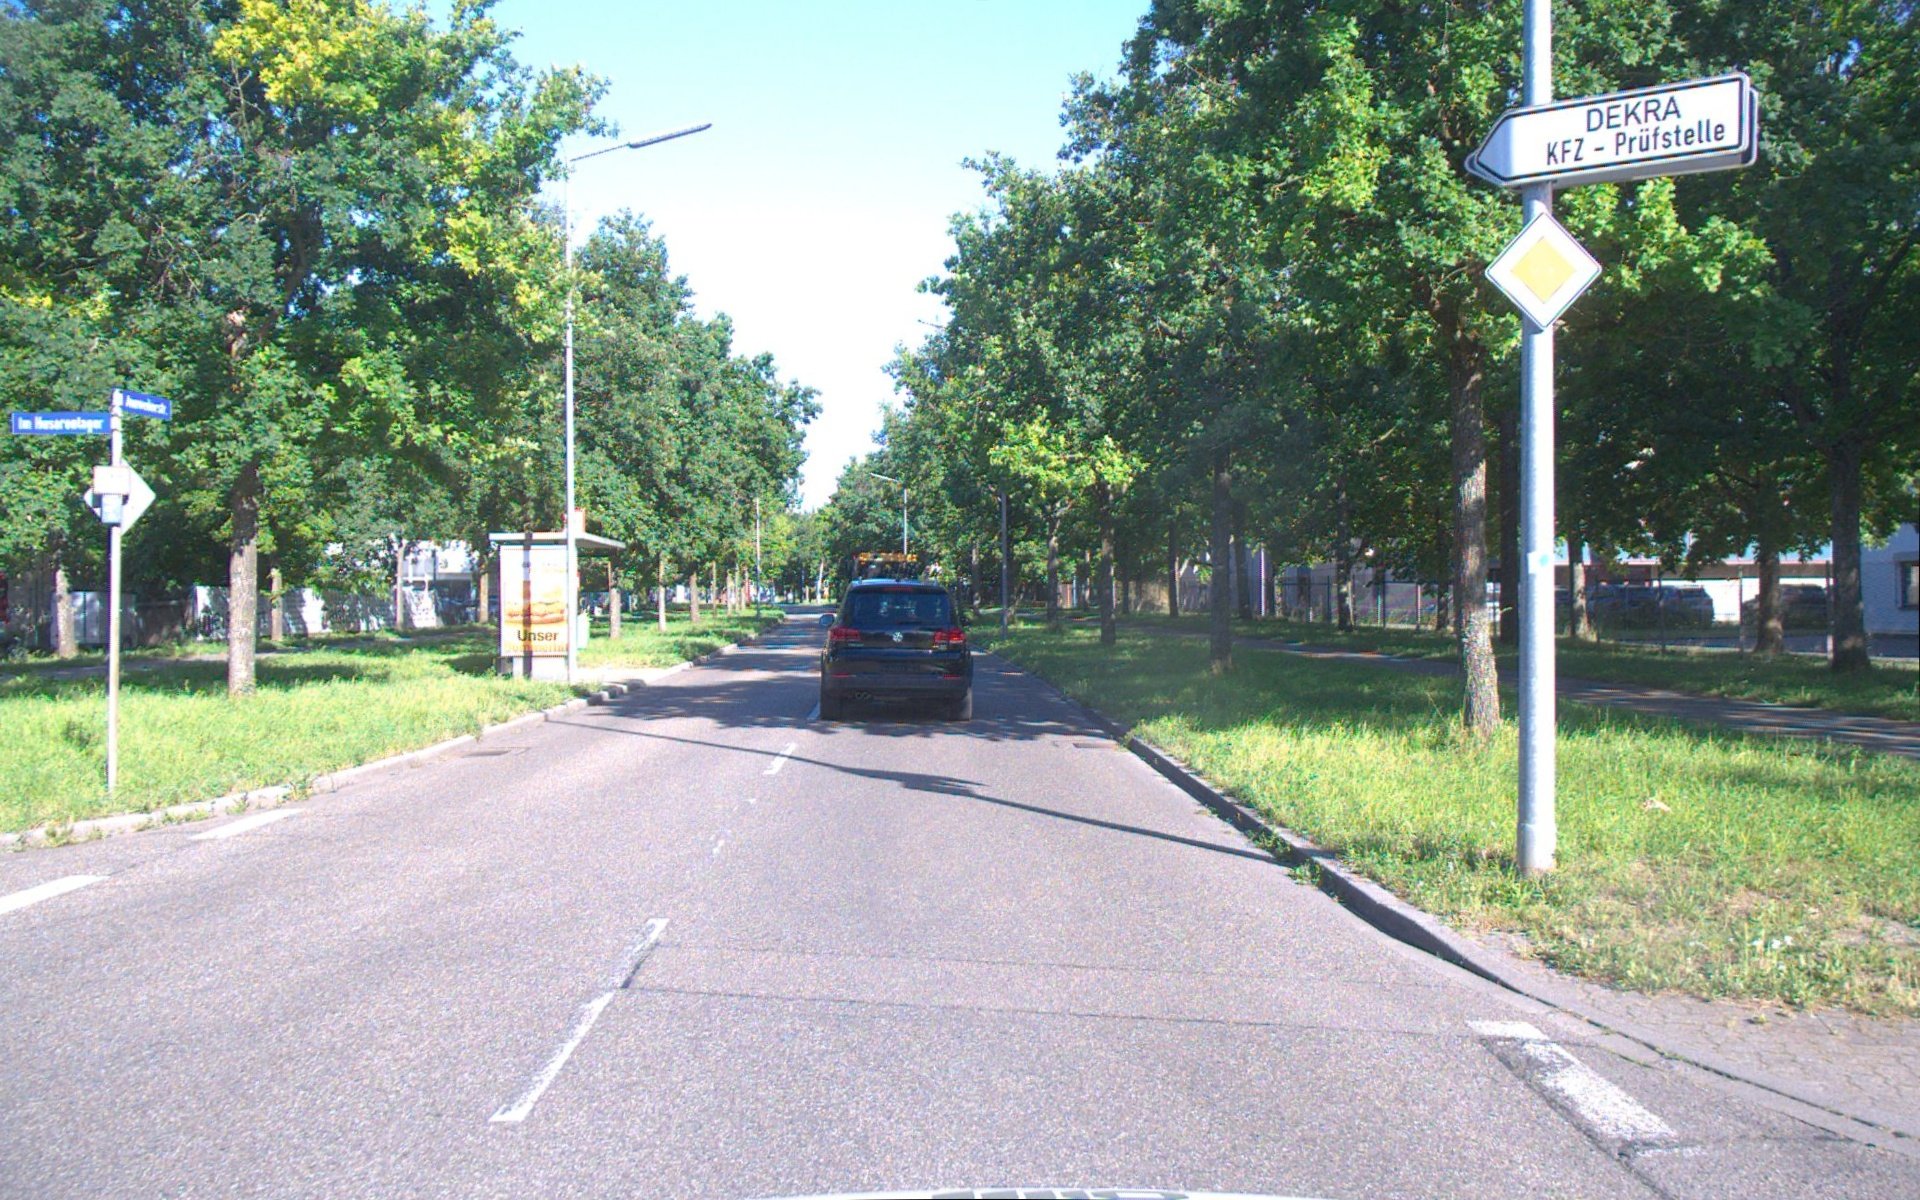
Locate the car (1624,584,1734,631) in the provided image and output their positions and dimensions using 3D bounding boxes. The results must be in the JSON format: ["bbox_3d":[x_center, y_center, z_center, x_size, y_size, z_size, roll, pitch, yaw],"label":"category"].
[{"bbox_3d":[28.567,0.277,65.887,2.141,1.775,4.638,-1,0,-4],"label":"car"}]

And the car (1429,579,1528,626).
[{"bbox_3d":[20.297,0.073,64.929,2.141,1.775,4.638,-1,0,-4],"label":"car"}]

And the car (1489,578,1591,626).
[{"bbox_3d":[22.734,0.058,65.015,2.141,1.775,4.638,-1,0,-4],"label":"car"}]

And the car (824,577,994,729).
[{"bbox_3d":[-0.684,0.582,20.938,1.897,1.685,4.424,1,0,-3],"label":"car"}]

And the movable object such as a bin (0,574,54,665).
[{"bbox_3d":[-24.763,0.496,41.111,2.060,2.256,4.459,-1,0,-1],"label":"movable object such as a bin"}]

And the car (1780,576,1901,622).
[{"bbox_3d":[35.073,-0.052,66.035,2.141,1.775,4.638,-1,0,-4],"label":"car"}]

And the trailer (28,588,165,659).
[{"bbox_3d":[-25.116,0.644,48.237,2.060,1.948,3.740,-1,0,-1],"label":"trailer"}]

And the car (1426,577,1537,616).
[{"bbox_3d":[24.798,-0.155,78.675,4.541,1.775,2.187,-1,0,-9],"label":"car"}]

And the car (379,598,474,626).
[{"bbox_3d":[-26.379,0.583,81.871,4.116,1.310,1.940,-1,0,-5],"label":"car"}]

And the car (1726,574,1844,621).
[{"bbox_3d":[32.866,-0.110,66.020,2.141,1.775,4.638,-1,0,-4],"label":"car"}]

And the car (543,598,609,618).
[{"bbox_3d":[-26.723,0.544,115.090,4.111,1.344,1.942,-1,0,2],"label":"car"}]

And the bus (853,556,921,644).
[{"bbox_3d":[-3.145,-0.046,72.208,2.709,3.517,11.206,-1,0,-2],"label":"bus"}]
